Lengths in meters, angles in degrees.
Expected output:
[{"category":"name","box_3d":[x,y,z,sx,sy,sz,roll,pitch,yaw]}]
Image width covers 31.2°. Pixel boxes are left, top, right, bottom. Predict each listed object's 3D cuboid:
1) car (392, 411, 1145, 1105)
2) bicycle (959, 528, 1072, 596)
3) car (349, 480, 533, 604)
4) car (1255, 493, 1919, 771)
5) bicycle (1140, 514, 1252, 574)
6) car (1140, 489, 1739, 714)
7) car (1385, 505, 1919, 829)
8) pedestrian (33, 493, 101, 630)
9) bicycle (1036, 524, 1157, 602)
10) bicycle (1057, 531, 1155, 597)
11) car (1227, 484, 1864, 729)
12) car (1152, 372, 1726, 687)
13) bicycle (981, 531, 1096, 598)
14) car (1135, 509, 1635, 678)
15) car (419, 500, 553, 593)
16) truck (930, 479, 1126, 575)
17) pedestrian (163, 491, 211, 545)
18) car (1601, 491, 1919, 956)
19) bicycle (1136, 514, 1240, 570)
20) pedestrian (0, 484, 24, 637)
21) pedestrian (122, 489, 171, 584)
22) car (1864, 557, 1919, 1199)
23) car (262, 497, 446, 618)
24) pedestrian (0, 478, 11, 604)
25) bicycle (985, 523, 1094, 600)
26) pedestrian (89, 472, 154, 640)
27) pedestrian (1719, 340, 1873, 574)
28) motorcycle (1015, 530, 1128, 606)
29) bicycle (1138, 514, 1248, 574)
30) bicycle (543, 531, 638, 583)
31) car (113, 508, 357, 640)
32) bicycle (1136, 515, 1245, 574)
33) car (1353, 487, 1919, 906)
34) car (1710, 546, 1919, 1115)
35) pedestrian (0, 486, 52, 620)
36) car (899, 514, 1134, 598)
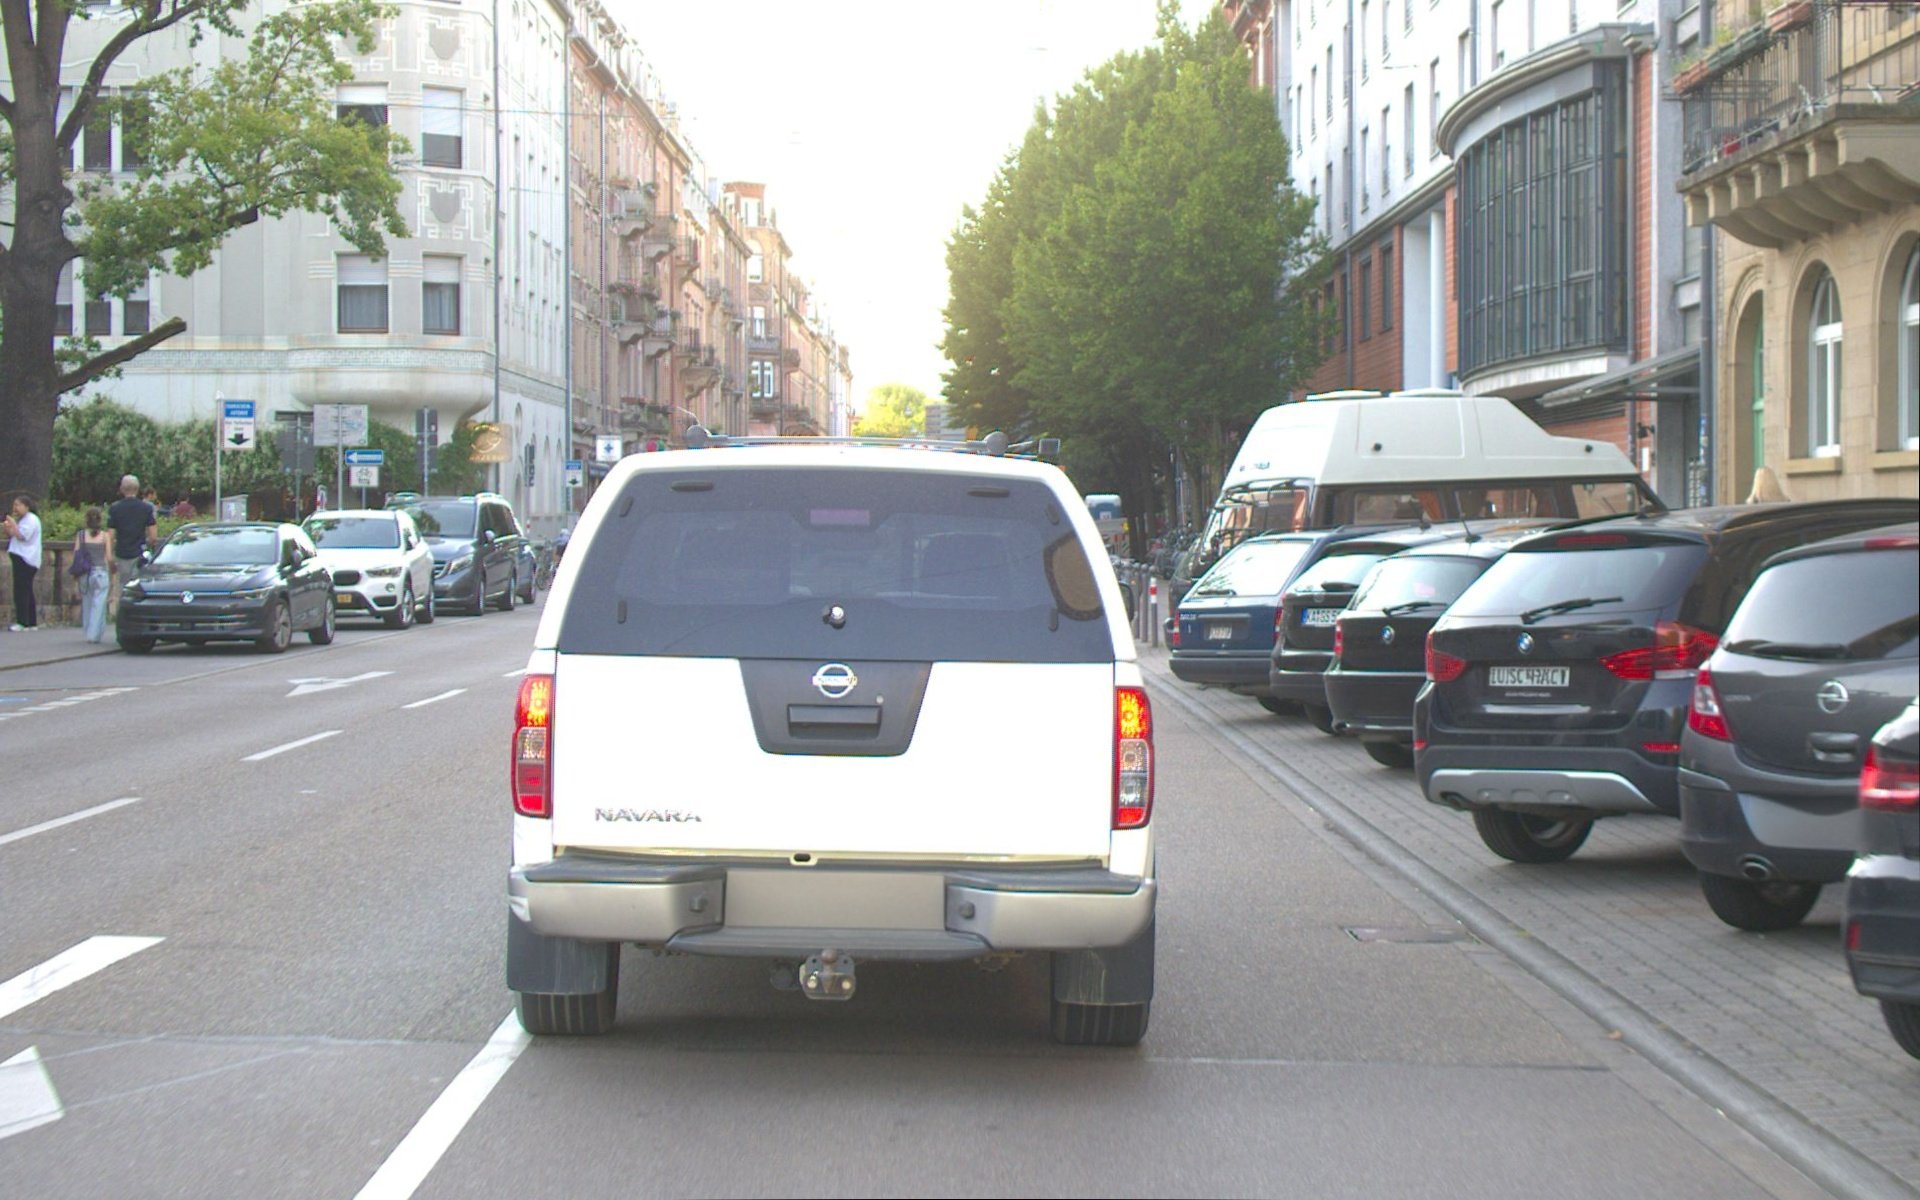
[{"category":"car","box_3d":[-0.516,0.345,11.161,1.933,1.788,4.622,0,2,-1]},{"category":"bicycle","box_3d":[0.928,-0.639,57.598,1.857,1.062,0.446,-2,1,-1]},{"category":"car","box_3d":[-8.160,-0.940,54.487,1.993,1.860,5.290,0,1,1]},{"category":"car","box_3d":[4.003,0.149,21.167,4.022,1.427,1.868,-4,2,-34]},{"category":"bicycle","box_3d":[5.383,-1.280,78.412,2.534,1.375,0.599,0,1,3]},{"category":"car","box_3d":[3.770,-0.033,26.830,4.384,1.481,1.844,-3,2,-30]},{"category":"car","box_3d":[4.418,0.278,18.539,4.045,1.493,1.754,-3,2,-35]},{"category":"pedestrian","box_3d":[-10.200,-0.446,39.271,0.582,1.546,0.839,1,1,-3]},{"category":"bicycle","box_3d":[2.171,-0.593,54.834,1.859,1.142,0.659,-3,1,0]},{"category":"bicycle","box_3d":[2.375,-0.590,56.030,1.539,1.035,0.472,-2,1,-1]},{"category":"car","box_3d":[4.119,0.028,24.101,4.108,1.540,1.795,-2,0,-28]},{"category":"car","box_3d":[4.172,-0.600,29.744,4.710,2.538,1.918,-1,1,-29]},{"category":"bicycle","box_3d":[1.290,-0.585,56.645,1.857,1.035,0.472,-2,1,-1]},{"category":"car","box_3d":[3.999,-0.103,32.280,4.342,1.497,1.914,-1,1,-28]},{"category":"car","box_3d":[-8.184,-0.949,59.620,1.640,1.550,4.004,0,1,2]},{"category":"truck","box_3d":[2.238,-2.383,113.069,6.320,2.966,2.264,1,-2,2]},{"category":"pedestrian","box_3d":[-14.166,-1.510,63.027,0.706,0.977,0.837,0,1,-2]},{"category":"car","box_3d":[4.366,0.338,12.955,3.905,1.539,1.717,-3,1,-41]},{"category":"bicycle","box_3d":[5.582,-1.424,84.185,2.534,1.375,0.599,0,1,3]},{"category":"pedestrian","box_3d":[-11.034,-0.451,38.845,0.714,1.719,0.692,0,1,1]},{"category":"pedestrian","box_3d":[-14.921,-1.165,63.041,0.706,1.715,0.837,0,1,-2]},{"category":"car","box_3d":[3.901,0.576,6.615,4.242,1.448,1.999,-3,1,-38]},{"category":"car","box_3d":[-8.290,-0.611,47.372,1.871,1.586,4.469,0,1,-2]},{"category":"pedestrian","box_3d":[-12.104,-0.725,42.179,0.651,1.540,0.585,1,1,24]},{"category":"bicycle","box_3d":[1.282,-0.623,55.475,1.707,1.172,0.472,-2,1,-1]},{"category":"pedestrian","box_3d":[-9.592,-0.505,39.338,0.582,1.899,0.803,0,1,-3]},{"category":"pedestrian","box_3d":[7.586,-1.300,31.242,0.607,2.005,0.858,18,3,2]},{"category":"motorcycle","box_3d":[1.737,-0.503,53.674,1.644,1.098,0.647,-2,2,-8]},{"category":"bicycle","box_3d":[5.356,-1.295,79.127,2.534,1.375,0.599,0,1,3]},{"category":"bicycle","box_3d":[-8.115,-0.948,75.496,2.113,1.091,0.500,2,3,25]},{"category":"car","box_3d":[-8.225,-0.336,39.365,1.783,1.430,4.316,0,1,1]},{"category":"bicycle","box_3d":[5.382,-1.299,80.503,2.534,1.375,0.599,0,1,3]},{"category":"car","box_3d":[3.900,0.312,15.431,4.087,1.602,1.816,-3,2,-38]},{"category":"car","box_3d":[4.136,0.499,9.708,3.905,1.441,1.874,-3,1,-40]},{"category":"pedestrian","box_3d":[-11.373,-0.575,41.862,0.414,1.616,0.548,0,2,-40]},{"category":"car","box_3d":[1.045,-0.835,63.313,3.987,1.501,1.771,-1,1,-29]}]
